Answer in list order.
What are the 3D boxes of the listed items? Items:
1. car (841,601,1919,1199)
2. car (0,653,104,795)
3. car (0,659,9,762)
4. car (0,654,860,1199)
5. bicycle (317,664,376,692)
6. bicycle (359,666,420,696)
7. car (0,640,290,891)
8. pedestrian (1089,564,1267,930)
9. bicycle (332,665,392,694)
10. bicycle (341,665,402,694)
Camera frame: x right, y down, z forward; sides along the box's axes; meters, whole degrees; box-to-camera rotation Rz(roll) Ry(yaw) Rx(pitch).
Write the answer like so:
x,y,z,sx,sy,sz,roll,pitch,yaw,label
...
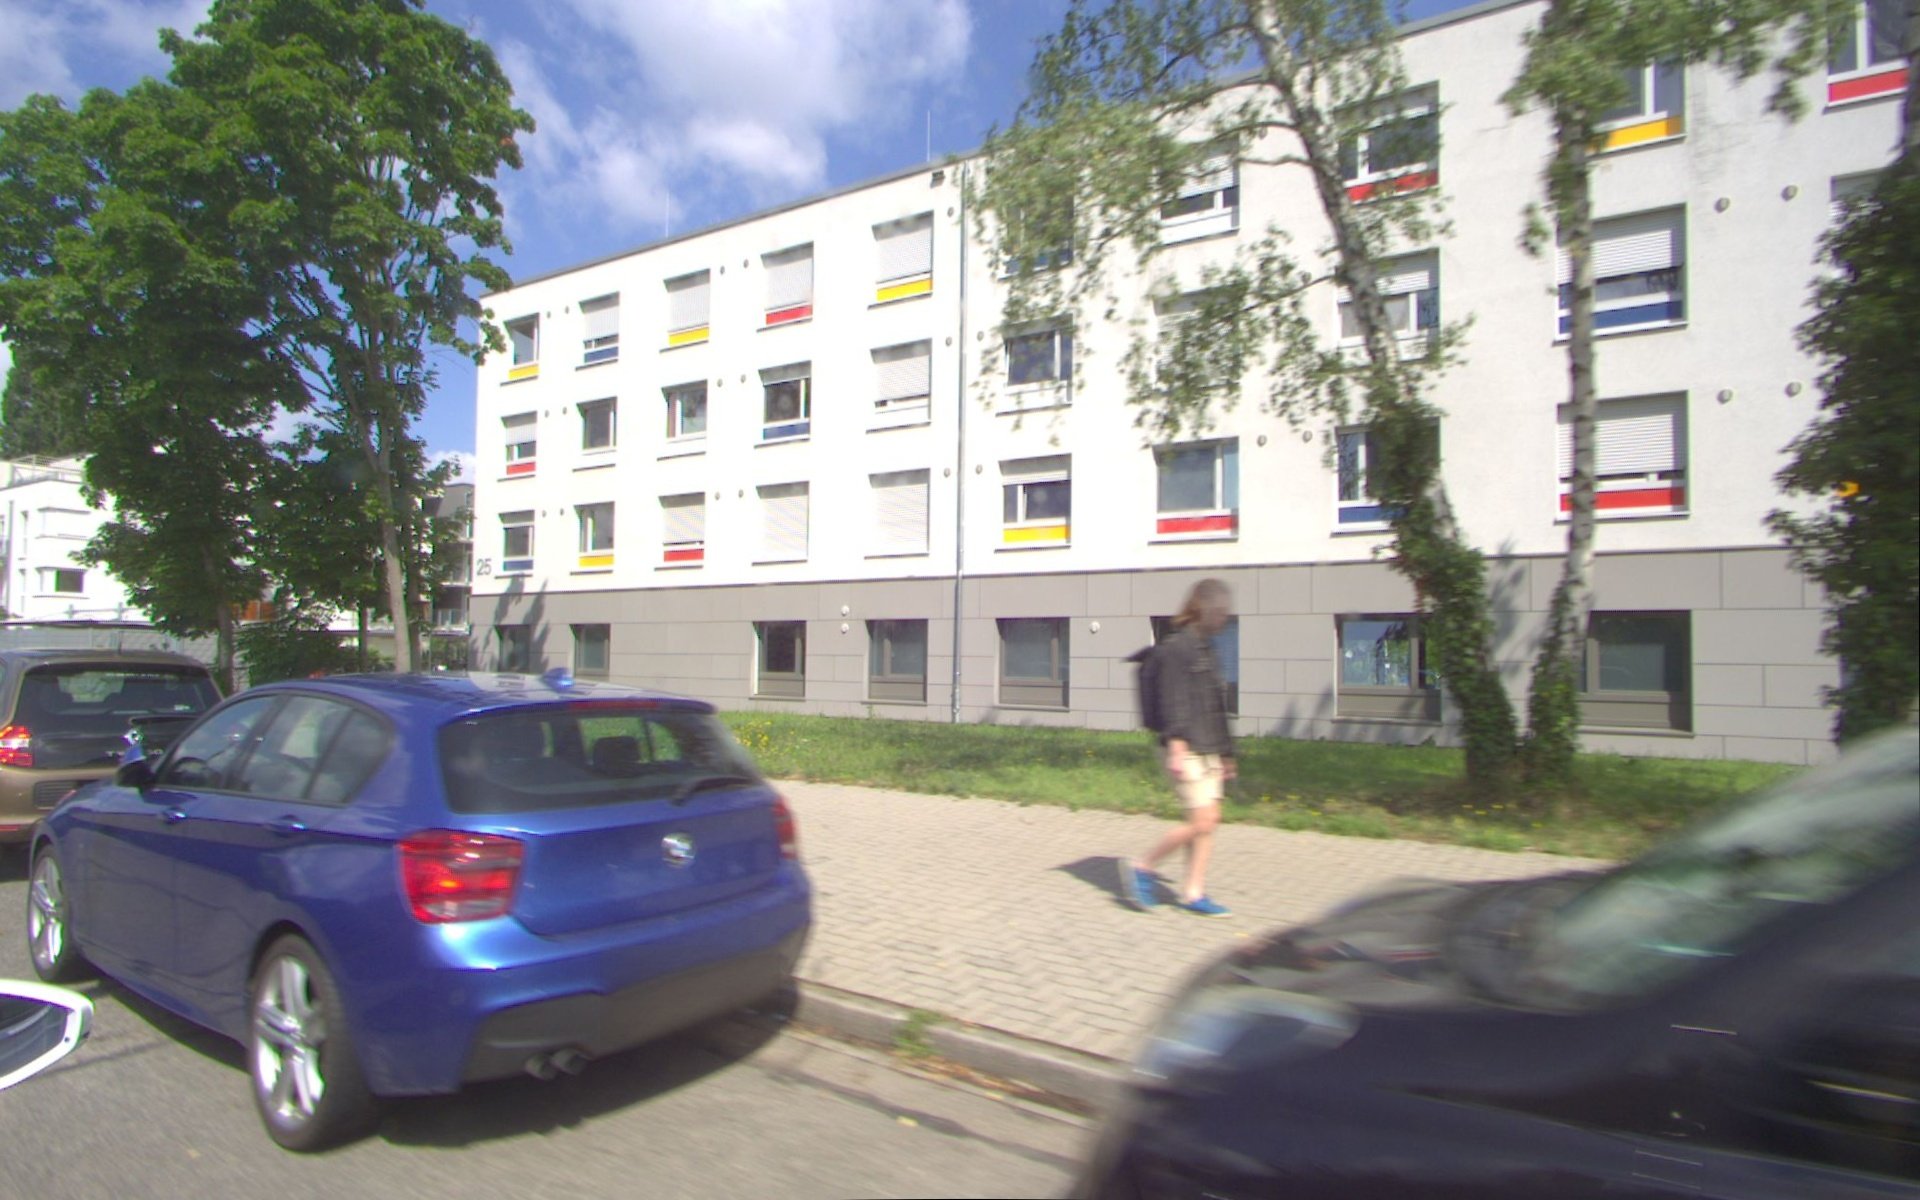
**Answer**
x,y,z,sx,sy,sz,roll,pitch,yaw,label
1.865,0.809,1.339,3.948,1.524,1.660,-2,-5,36,car
-11.345,1.322,11.311,3.695,1.456,1.660,-2,-5,36,car
-15.531,1.553,14.500,3.491,1.452,1.662,-2,-5,32,car
-2.559,0.996,4.385,4.151,1.457,1.660,-2,-5,36,car
-26.051,3.301,42.533,0.678,1.093,2.043,-1,-2,34,bicycle
-22.810,3.212,40.048,0.678,1.093,2.043,-1,-2,34,bicycle
-7.011,1.155,8.001,3.592,1.571,1.659,-2,-5,38,car
1.164,0.740,5.332,0.714,1.766,0.607,-2,-5,44,pedestrian
-24.610,3.263,41.229,0.678,1.093,2.043,-1,-2,34,bicycle
-23.973,3.238,40.806,0.678,1.093,2.043,-1,-2,34,bicycle
